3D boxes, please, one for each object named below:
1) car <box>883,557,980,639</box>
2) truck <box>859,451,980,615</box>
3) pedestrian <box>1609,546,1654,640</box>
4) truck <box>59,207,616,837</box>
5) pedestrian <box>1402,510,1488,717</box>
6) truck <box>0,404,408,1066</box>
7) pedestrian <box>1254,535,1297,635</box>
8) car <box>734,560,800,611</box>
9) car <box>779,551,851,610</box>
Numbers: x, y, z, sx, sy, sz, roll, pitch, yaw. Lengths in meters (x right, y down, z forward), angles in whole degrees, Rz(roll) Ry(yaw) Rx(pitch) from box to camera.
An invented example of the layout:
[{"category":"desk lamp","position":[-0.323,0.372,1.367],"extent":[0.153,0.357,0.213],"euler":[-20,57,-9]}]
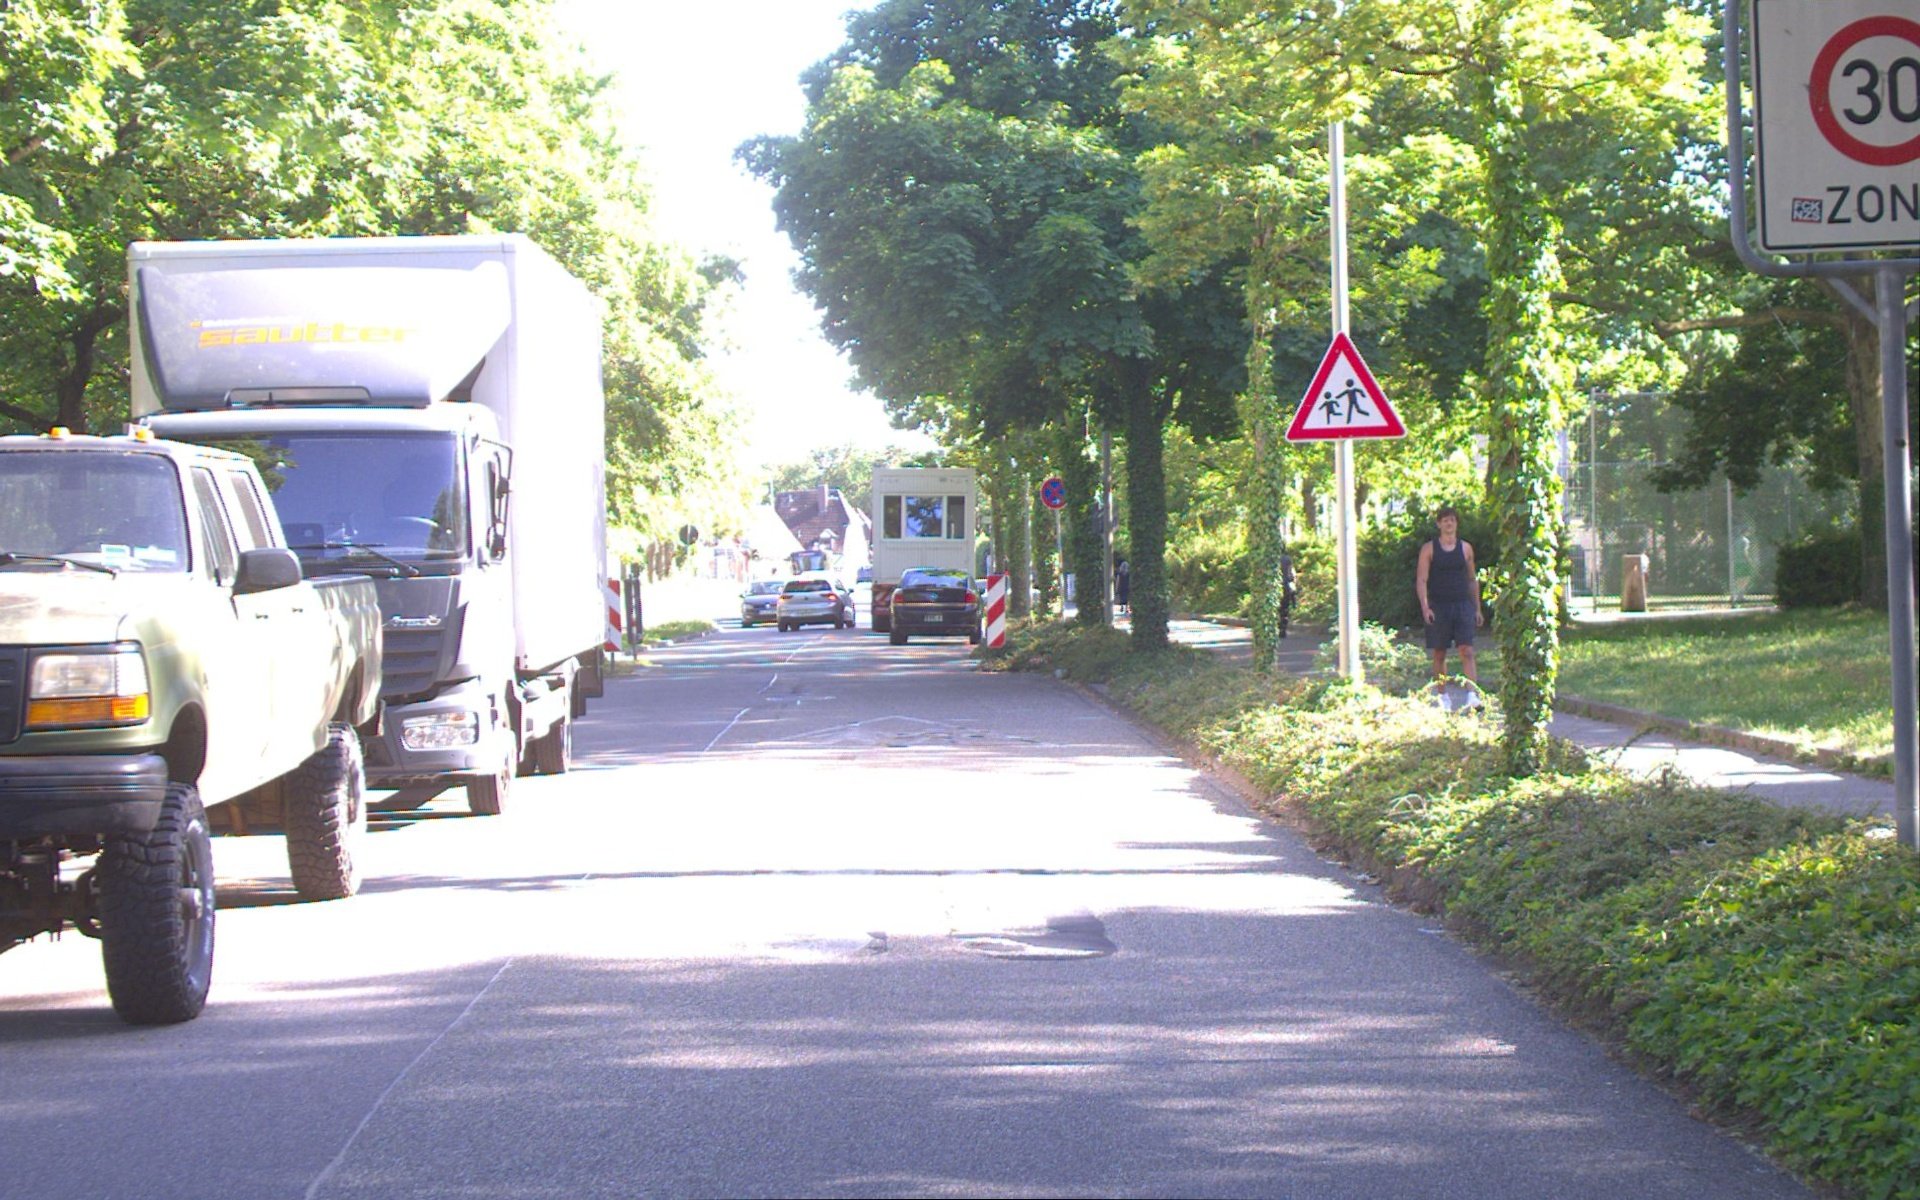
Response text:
[{"category":"car","position":[-0.556,-0.059,65.950],"extent":[1.794,1.505,4.000],"euler":[-1,1,-1]},{"category":"truck","position":[-1.033,-1.698,88.081],"extent":[2.887,3.931,10.001],"euler":[-1,1,-1]},{"category":"pedestrian","position":[11.895,-0.124,60.930],"extent":[0.648,1.655,0.650],"euler":[-1,0,0]},{"category":"truck","position":[-4.022,-0.502,24.018],"extent":[2.614,3.615,7.958],"euler":[-1,1,-2]},{"category":"pedestrian","position":[4.304,0.113,30.552],"extent":[0.648,1.814,0.650],"euler":[-1,0,-1]},{"category":"truck","position":[-3.758,0.409,14.176],"extent":[2.113,2.087,6.648],"euler":[-1,1,-2]},{"category":"pedestrian","position":[5.299,-0.254,57.762],"extent":[0.648,1.655,0.650],"euler":[-1,0,0]},{"category":"car","position":[-5.854,-0.447,104.743],"extent":[1.794,1.505,4.000],"euler":[-1,1,-1]},{"category":"car","position":[-3.867,-0.533,92.126],"extent":[1.794,1.505,4.000],"euler":[-1,1,-1]}]
